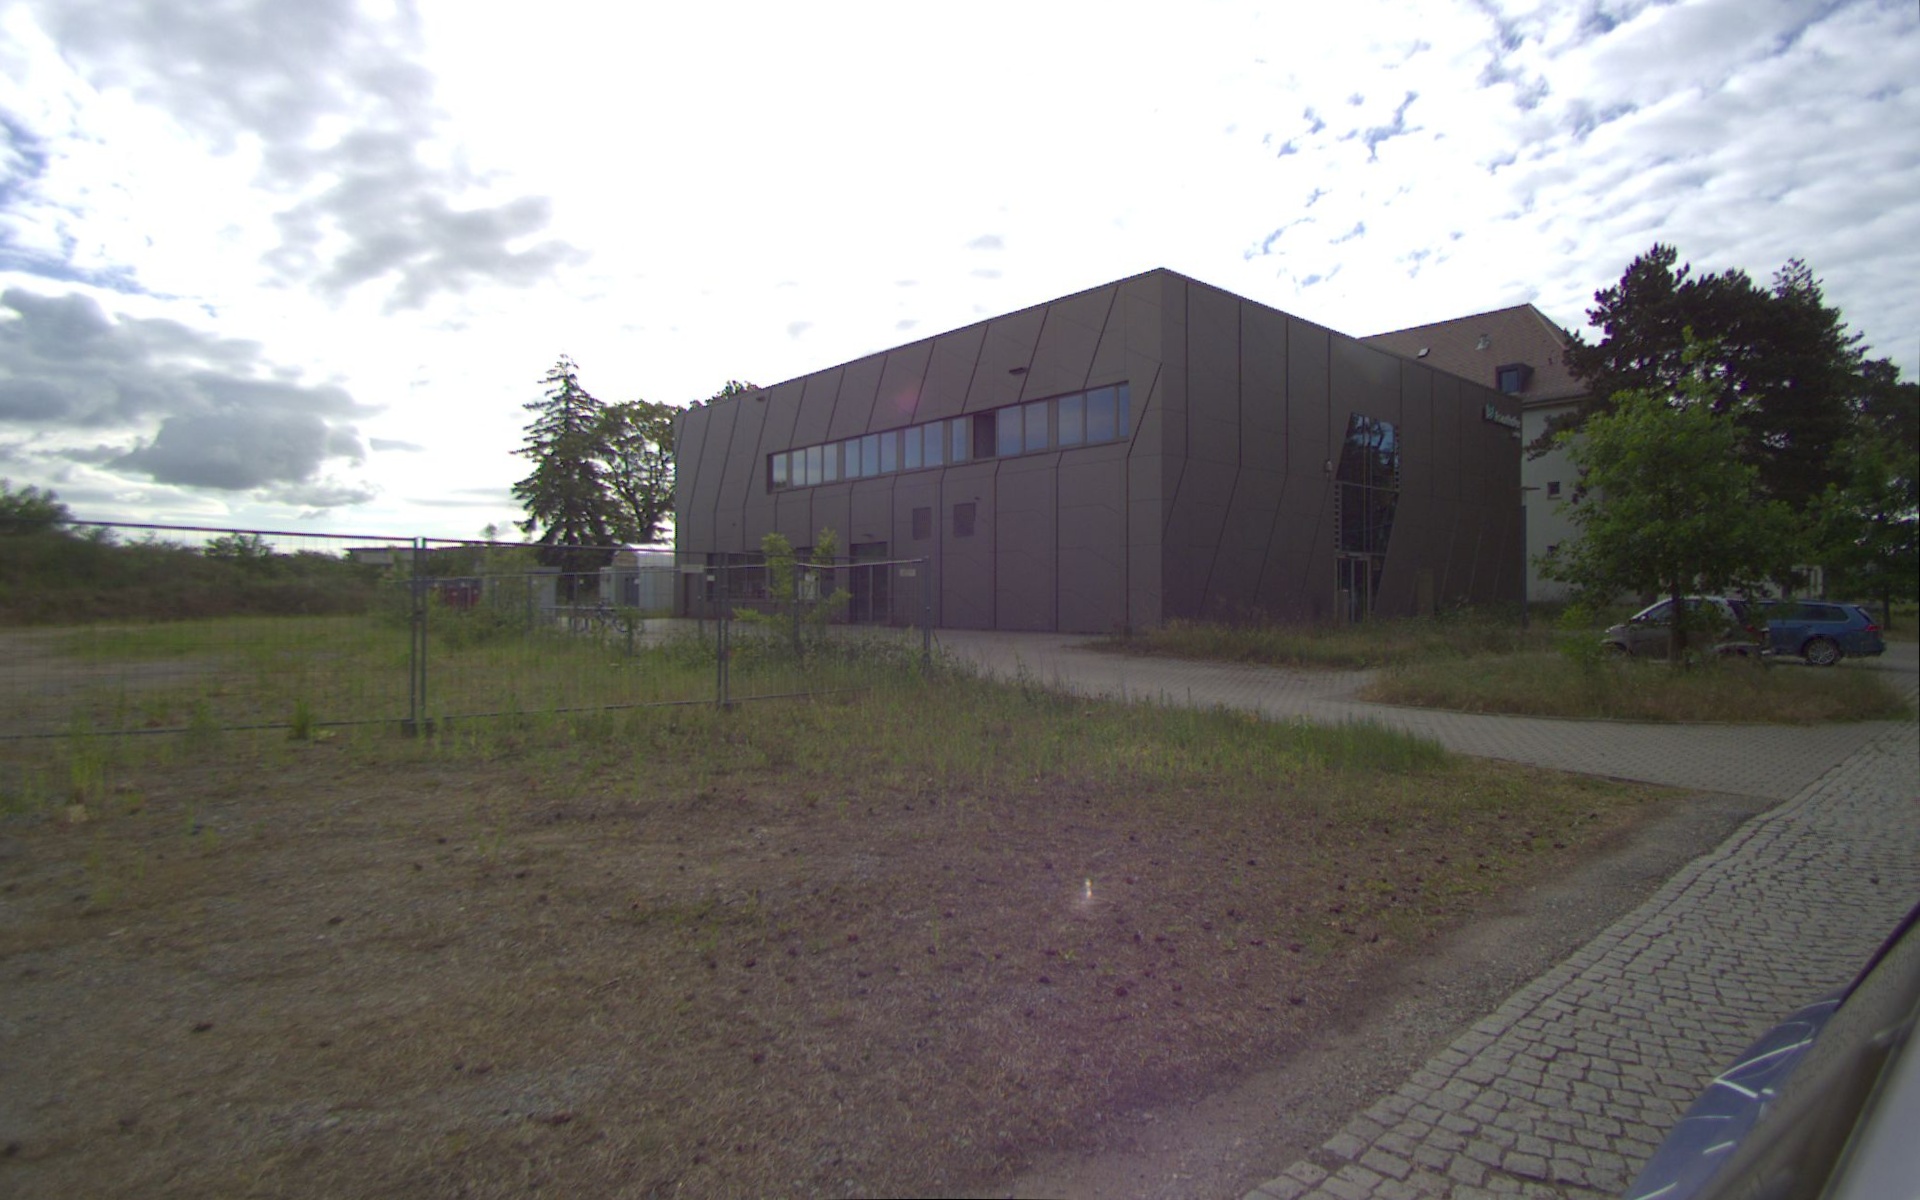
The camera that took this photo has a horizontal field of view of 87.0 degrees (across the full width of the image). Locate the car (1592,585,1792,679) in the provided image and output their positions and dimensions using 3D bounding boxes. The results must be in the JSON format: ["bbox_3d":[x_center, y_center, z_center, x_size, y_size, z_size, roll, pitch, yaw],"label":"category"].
[{"bbox_3d":[13.739,0.532,19.058,1.624,1.575,2.716,0,2,-39],"label":"car"}]

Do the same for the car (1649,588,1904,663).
[{"bbox_3d":[19.189,0.517,23.939,1.800,1.493,4.495,0,2,-44],"label":"car"}]

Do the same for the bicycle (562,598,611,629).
[{"bbox_3d":[-13.789,0.482,37.408,1.624,1.099,0.512,0,0,-33],"label":"bicycle"}]

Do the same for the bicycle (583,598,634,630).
[{"bbox_3d":[-12.373,0.484,35.630,1.624,1.099,0.512,0,0,-33],"label":"bicycle"}]
